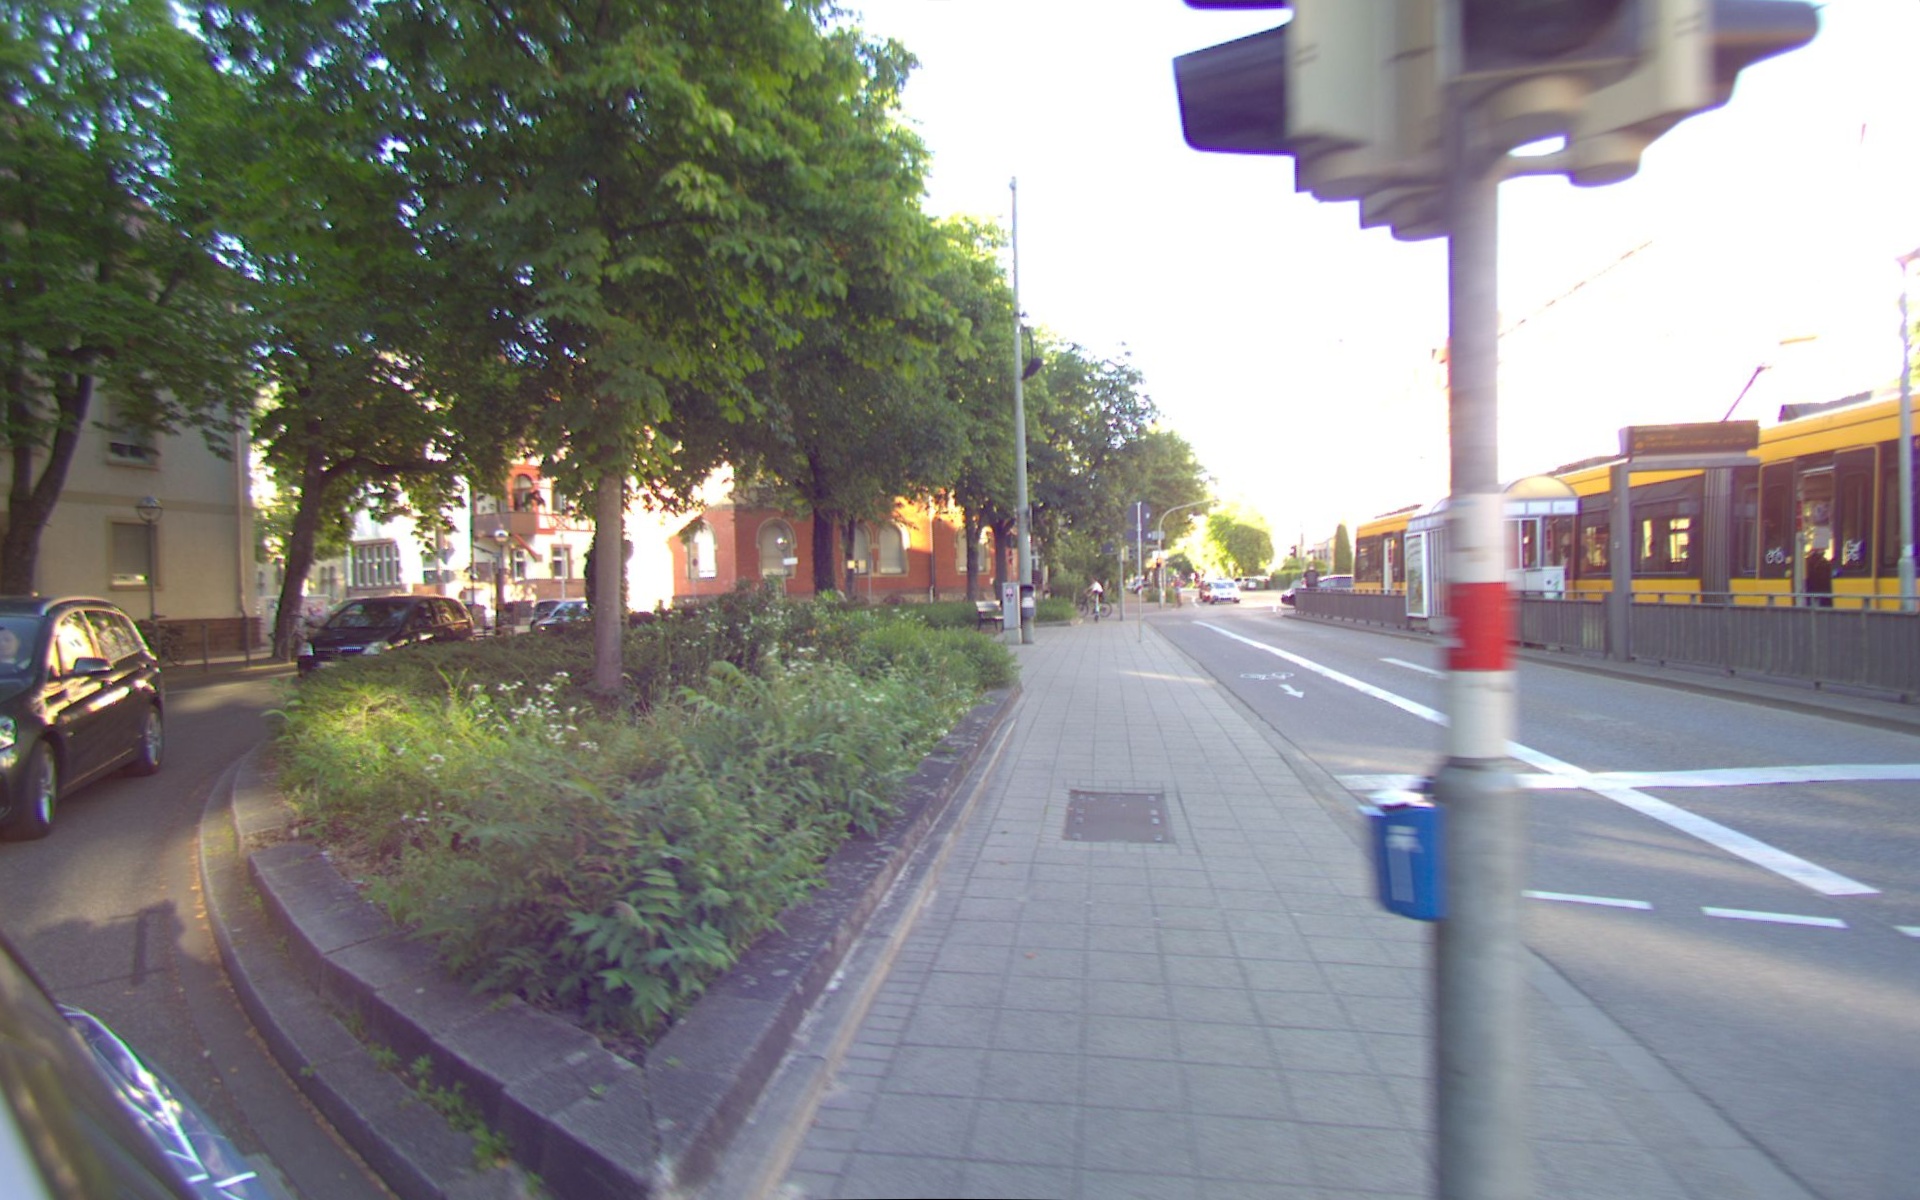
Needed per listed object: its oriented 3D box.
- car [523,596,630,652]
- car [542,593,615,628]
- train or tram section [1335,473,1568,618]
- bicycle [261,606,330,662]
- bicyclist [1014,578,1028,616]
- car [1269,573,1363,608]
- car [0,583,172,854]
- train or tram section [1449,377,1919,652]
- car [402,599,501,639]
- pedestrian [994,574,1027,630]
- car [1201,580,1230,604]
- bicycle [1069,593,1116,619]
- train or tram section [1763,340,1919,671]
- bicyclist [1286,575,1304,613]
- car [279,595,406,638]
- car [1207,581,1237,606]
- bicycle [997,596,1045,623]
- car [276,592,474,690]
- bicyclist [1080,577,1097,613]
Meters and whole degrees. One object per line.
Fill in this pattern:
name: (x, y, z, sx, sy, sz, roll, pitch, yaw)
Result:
car: (-10.606, 0.616, 28.273, 1.656, 1.419, 3.689, -1, 1, -1)
car: (-17.859, 0.495, 47.367, 3.200, 1.551, 1.479, -1, 0, 28)
train or tram section: (14.854, -1.479, 32.118, 2.741, 3.584, 12.652, -2, 1, 8)
bicycle: (-16.622, 0.818, 25.353, 0.755, 1.314, 1.907, -2, 1, -11)
bicyclist: (2.577, -0.124, 42.964, 0.494, 1.585, 0.495, -2, 0, -1)
car: (16.320, -0.452, 46.482, 3.971, 1.453, 1.965, -2, 1, 21)
car: (-7.352, 0.731, 7.348, 1.764, 1.590, 4.274, -1, 0, -27)
train or tram section: (13.166, -1.252, 19.697, 2.754, 3.614, 12.391, -2, 1, 8)
car: (-21.771, 0.801, 43.304, 4.168, 1.564, 1.788, -2, 0, 30)
pedestrian: (1.343, 0.056, 26.848, 0.704, 1.454, 0.597, -2, 1, 15)
car: (18.053, -0.585, 71.582, 1.718, 1.427, 3.987, -2, 2, 11)
bicycle: (5.861, 0.248, 44.856, 1.950, 1.065, 0.639, -2, 0, -9)
train or tram section: (11.546, -1.026, 7.717, 2.768, 3.647, 11.773, -2, 1, 8)
bicyclist: (14.123, -0.258, 42.655, 0.591, 1.585, 0.554, -2, 0, 11)
car: (-23.372, 0.605, 38.438, 1.667, 1.436, 3.771, -2, 1, 26)
car: (16.471, -0.440, 63.488, 1.721, 1.427, 3.980, -2, 1, 15)
bicycle: (2.584, 0.397, 43.007, 1.953, 1.065, 0.638, -2, 0, -1)
car: (-10.725, 0.674, 18.863, 1.656, 1.640, 3.690, -1, 1, -2)
bicyclist: (5.691, -0.211, 44.828, 0.547, 1.585, 0.599, -2, 0, -9)
